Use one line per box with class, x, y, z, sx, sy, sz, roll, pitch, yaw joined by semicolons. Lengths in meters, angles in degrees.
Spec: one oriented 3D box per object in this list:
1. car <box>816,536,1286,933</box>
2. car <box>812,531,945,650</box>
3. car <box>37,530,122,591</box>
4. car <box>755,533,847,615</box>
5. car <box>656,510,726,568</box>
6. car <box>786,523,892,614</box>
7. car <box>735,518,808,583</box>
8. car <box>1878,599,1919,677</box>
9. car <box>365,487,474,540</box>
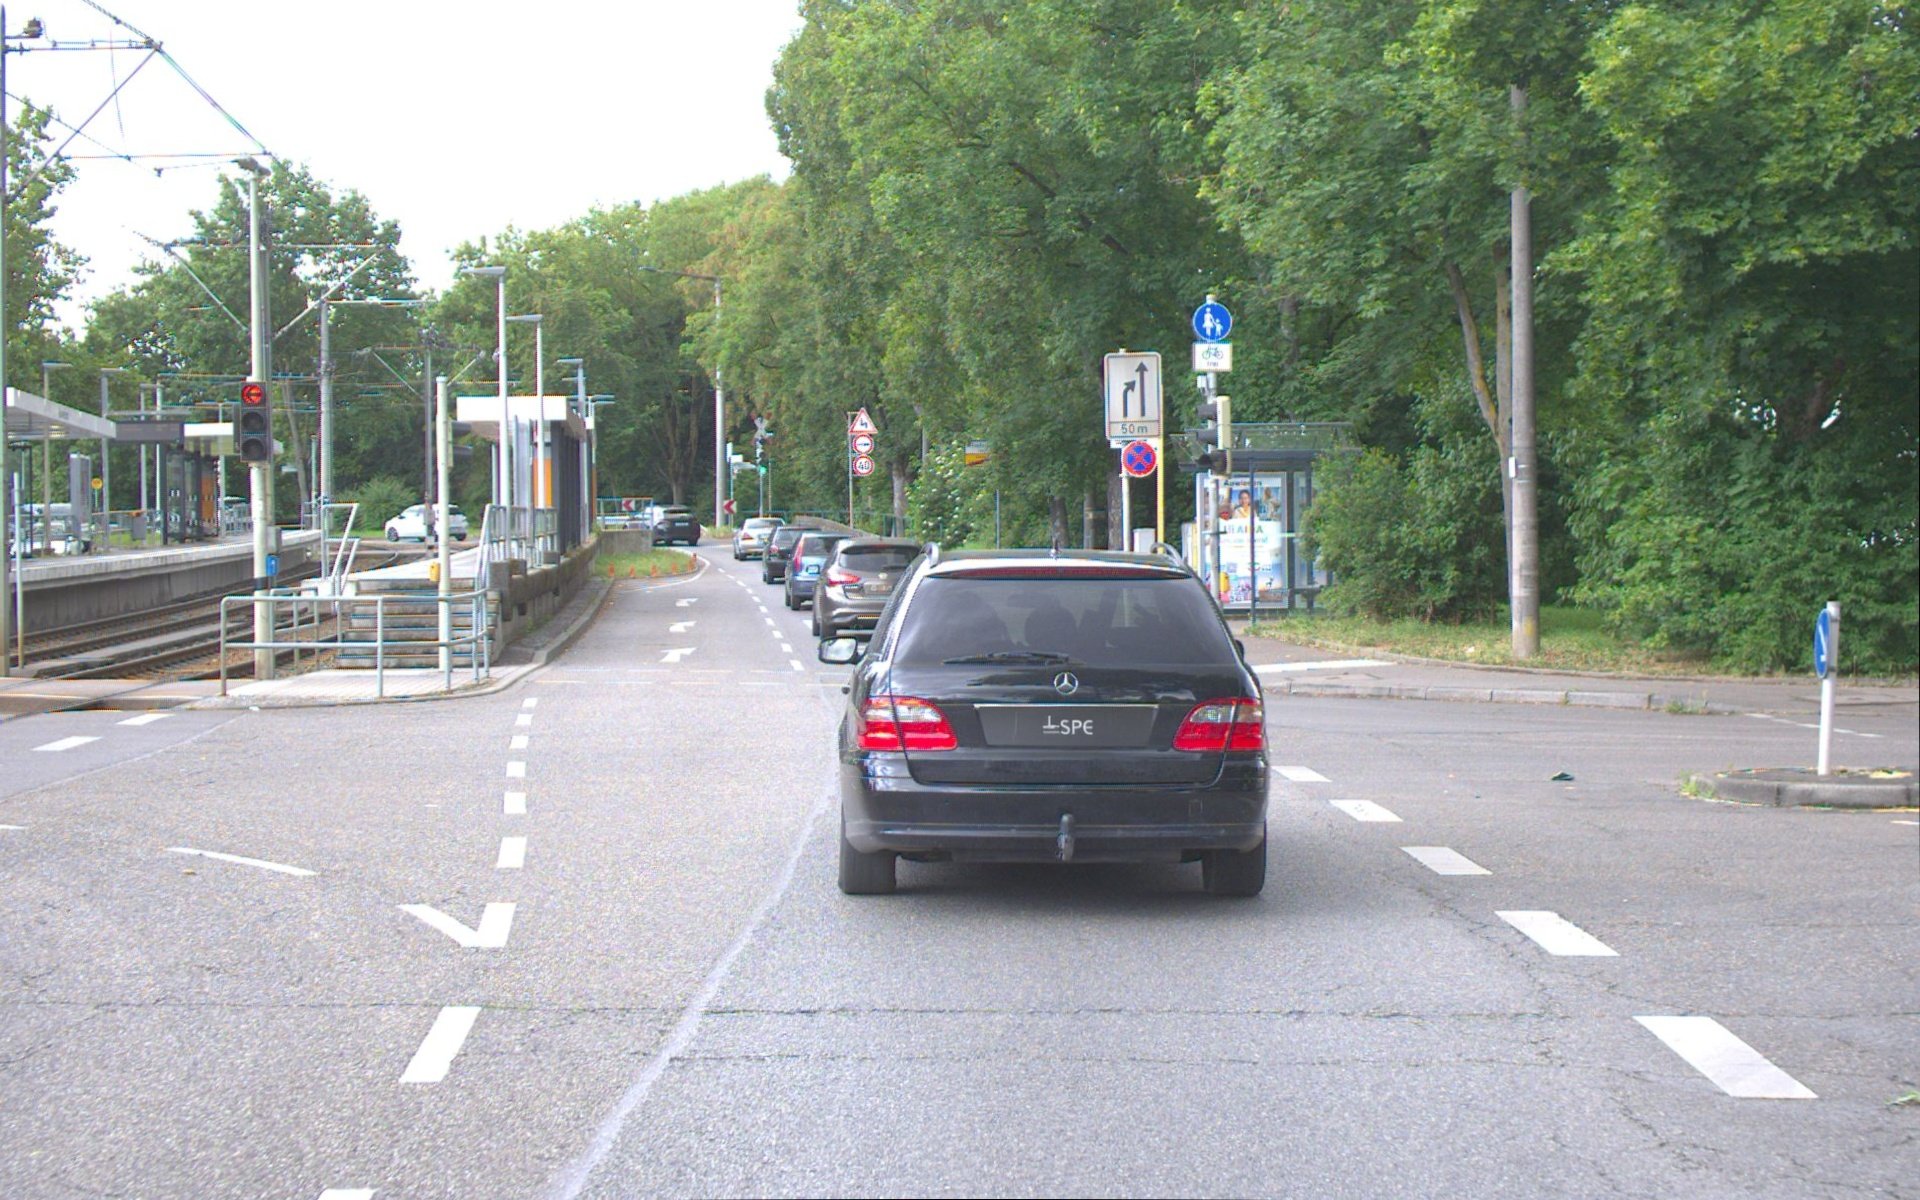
car;0.270;0.498;15.332;1.781;1.520;4.001;1;1;-3
car;-1.170;-0.144;50.993;1.782;1.642;4.000;2;0;1
car;-26.675;-1.180;104.262;1.710;1.745;4.400;-2;0;-5
car;-3.907;-0.631;83.996;1.993;1.911;4.001;2;0;-5
car;-9.685;-2.175;123.539;1.993;1.960;4.001;2;0;-11
car;-2.274;-0.591;65.578;1.782;1.642;4.000;2;0;1
car;-5.761;-1.477;104.654;1.993;1.886;4.001;2;0;-5
car;17.953;0.706;61.013;1.478;1.381;3.841;2;0;-15
car;-21.655;-3.474;137.703;3.995;2.007;1.996;2;0;34
